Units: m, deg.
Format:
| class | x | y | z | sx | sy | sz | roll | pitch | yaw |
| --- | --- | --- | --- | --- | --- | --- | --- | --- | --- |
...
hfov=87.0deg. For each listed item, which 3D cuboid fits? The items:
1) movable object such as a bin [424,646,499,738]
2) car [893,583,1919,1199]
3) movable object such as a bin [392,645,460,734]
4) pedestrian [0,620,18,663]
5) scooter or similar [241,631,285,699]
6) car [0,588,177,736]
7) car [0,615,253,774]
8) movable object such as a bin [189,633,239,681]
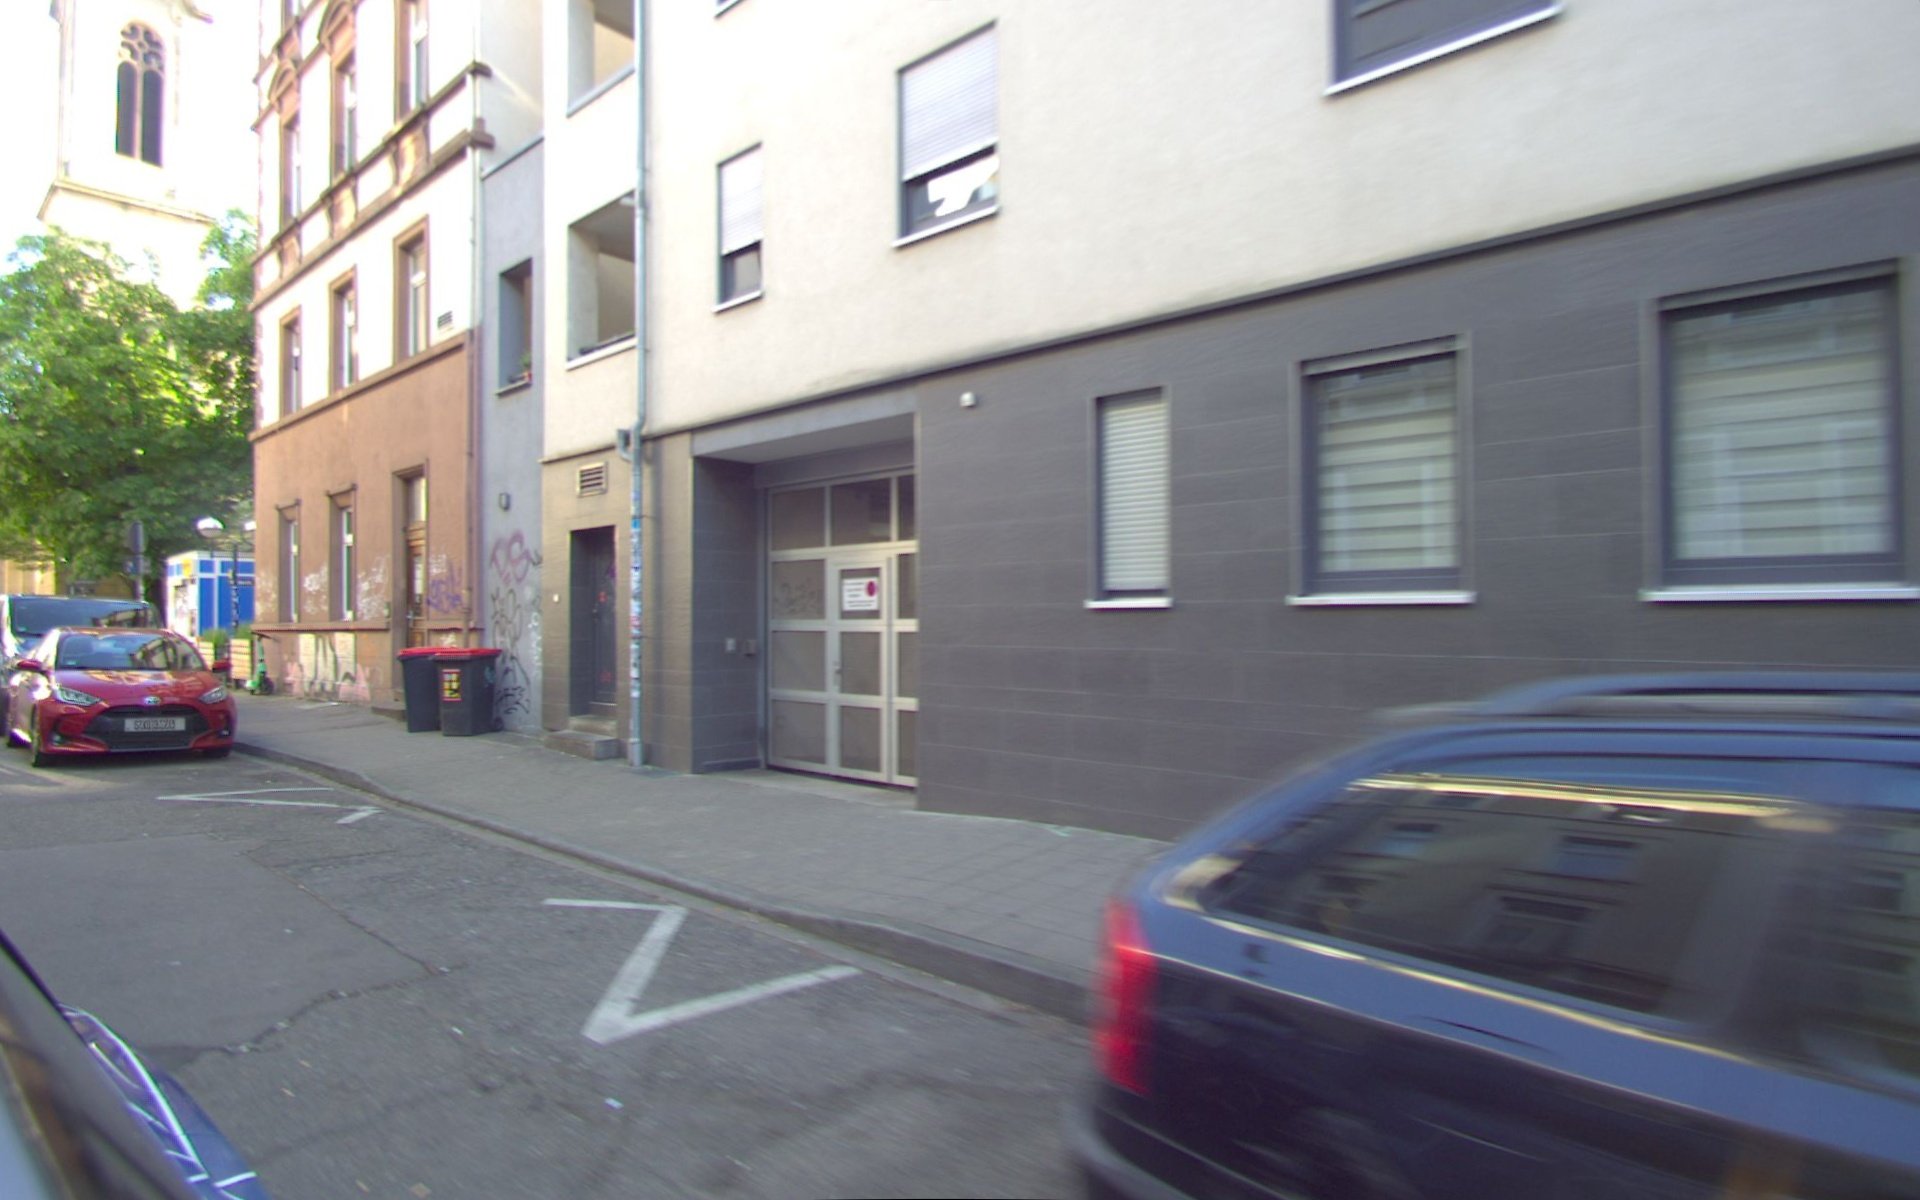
| class | x | y | z | sx | sy | sz | roll | pitch | yaw |
| --- | --- | --- | --- | --- | --- | --- | --- | --- | --- |
| movable object such as a bin | -6.166 | 1.118 | 12.549 | 0.501 | 1.075 | 0.728 | -1 | 0 | 10 |
| car | 2.123 | 0.754 | 1.023 | 4.496 | 1.490 | 1.699 | -2 | -5 | 41 |
| movable object such as a bin | -6.891 | 1.134 | 13.063 | 0.748 | 1.075 | 0.653 | 0 | 0 | -29 |
| pedestrian | -36.133 | 1.562 | 38.411 | 0.714 | 1.605 | 0.474 | -1 | 0 | 39 |
| scooter or similar | -13.125 | 1.200 | 19.042 | 1.391 | 1.225 | 0.344 | -1 | 0 | 41 |
| car | -13.707 | 0.854 | 15.423 | 5.296 | 1.893 | 1.998 | -2 | -1 | 43 |
| car | -9.868 | 0.994 | 11.808 | 3.868 | 1.533 | 1.732 | -1 | -4 | 42 |
| movable object such as a bin | -18.203 | 1.381 | 24.693 | 0.774 | 1.094 | 0.860 | -1 | 0 | 42 |
